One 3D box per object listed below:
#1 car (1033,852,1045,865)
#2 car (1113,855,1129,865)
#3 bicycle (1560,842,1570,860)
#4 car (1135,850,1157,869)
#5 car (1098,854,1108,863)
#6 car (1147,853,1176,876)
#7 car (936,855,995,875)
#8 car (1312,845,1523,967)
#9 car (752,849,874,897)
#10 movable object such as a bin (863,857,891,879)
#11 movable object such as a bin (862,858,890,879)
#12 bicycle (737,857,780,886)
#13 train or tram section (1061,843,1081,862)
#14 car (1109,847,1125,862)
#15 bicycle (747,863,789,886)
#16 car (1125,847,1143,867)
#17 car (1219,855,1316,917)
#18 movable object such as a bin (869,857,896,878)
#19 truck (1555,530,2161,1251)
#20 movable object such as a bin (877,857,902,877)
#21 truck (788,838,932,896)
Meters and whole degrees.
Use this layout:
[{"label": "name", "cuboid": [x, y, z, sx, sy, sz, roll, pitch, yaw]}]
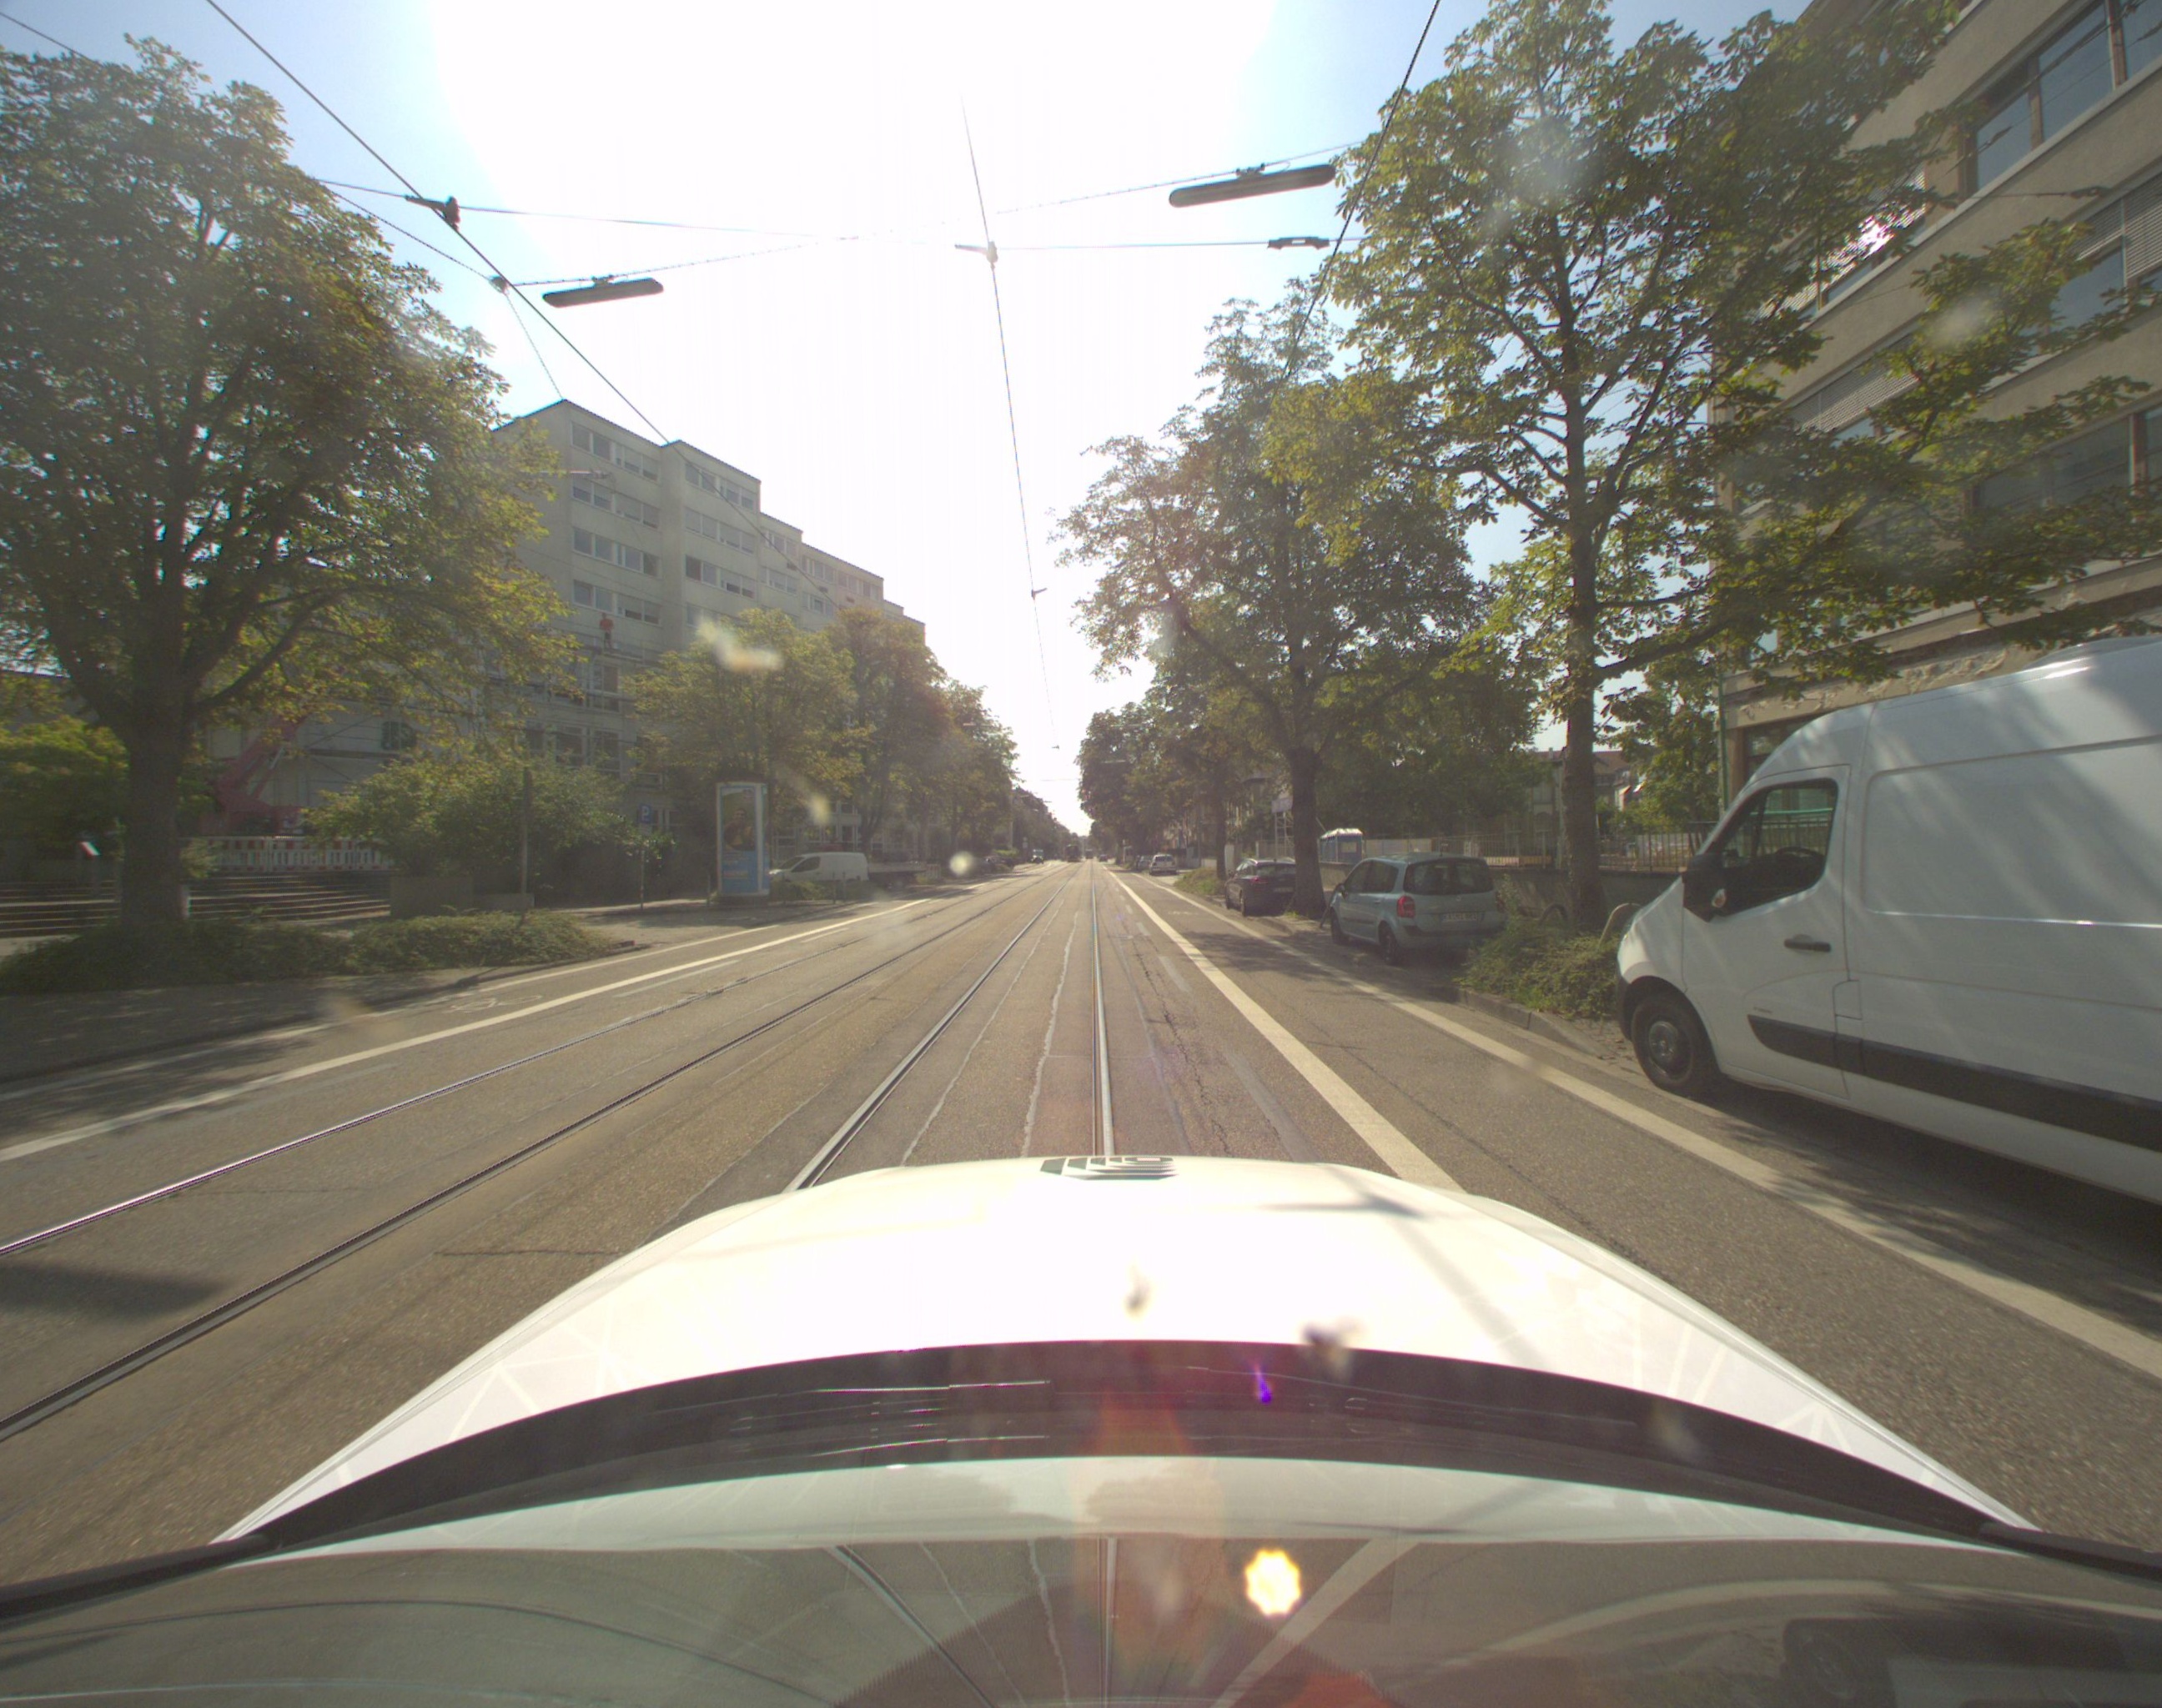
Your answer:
[{"label": "car", "cuboid": [-7.591, 0.790, 147.321, 2.237, 2.441, 3.996, 0, 0, -3]}, {"label": "car", "cuboid": [5.754, 0.834, 117.733, 1.988, 1.398, 3.997, -1, 0, -2]}, {"label": "bicycle", "cuboid": [36.773, -0.232, 61.873, 0.601, 1.302, 2.187, -1, 0, 31]}, {"label": "car", "cuboid": [5.553, 0.463, 69.712, 1.635, 1.511, 3.641, -1, 0, 1]}, {"label": "car", "cuboid": [4.412, 0.845, 164.466, 1.986, 1.801, 4.001, 0, 0, 1]}, {"label": "car", "cuboid": [5.539, 0.712, 56.283, 1.784, 1.446, 3.736, -2, 0, 3]}, {"label": "car", "cuboid": [-9.404, 0.896, 66.592, 1.655, 1.451, 4.717, -1, 1, 44]}, {"label": "car", "cuboid": [5.155, 0.716, 13.136, 1.668, 1.580, 4.172, -3, 0, 1]}, {"label": "car", "cuboid": [-10.809, 0.732, 32.979, 4.309, 1.772, 1.803, -1, 0, -43]}, {"label": "movable object such as a bin", "cuboid": [-15.063, 1.061, 60.192, 1.678, 1.559, 1.353, -1, 0, -1]}, {"label": "movable object such as a bin", "cuboid": [-15.496, 1.070, 61.625, 1.678, 1.559, 1.353, -1, 0, -1]}, {"label": "bicycle", "cuboid": [-17.319, 0.925, 43.778, 2.319, 1.525, 0.605, 1, 0, 20]}, {"label": "train or tram section", "cuboid": [-1.971, -0.297, 165.129, 3.484, 3.704, 12.417, 0, 1, 2]}, {"label": "car", "cuboid": [5.491, 0.120, 124.852, 1.990, 2.233, 3.994, -1, 0, -4]}, {"label": "bicycle", "cuboid": [-17.075, 1.109, 44.443, 2.319, 1.169, 0.605, 1, 0, 20]}, {"label": "car", "cuboid": [6.310, 0.357, 97.589, 1.986, 2.365, 4.001, 0, 0, 1]}, {"label": "car", "cuboid": [5.092, 0.805, 22.799, 1.668, 1.458, 4.664, -2, 0, 1]}, {"label": "movable object such as a bin", "cuboid": [-15.410, 1.059, 63.223, 1.678, 1.559, 1.353, -1, 0, -1]}, {"label": "truck", "cuboid": [4.844, 0.125, 3.838, 1.911, 2.599, 5.591, -1, 0, 0]}, {"label": "movable object such as a bin", "cuboid": [-15.529, 1.070, 66.255, 1.678, 1.559, 1.353, -1, 0, -1]}, {"label": "truck", "cuboid": [-9.996, 0.517, 37.183, 5.998, 2.434, 2.126, -1, 0, -39]}]
